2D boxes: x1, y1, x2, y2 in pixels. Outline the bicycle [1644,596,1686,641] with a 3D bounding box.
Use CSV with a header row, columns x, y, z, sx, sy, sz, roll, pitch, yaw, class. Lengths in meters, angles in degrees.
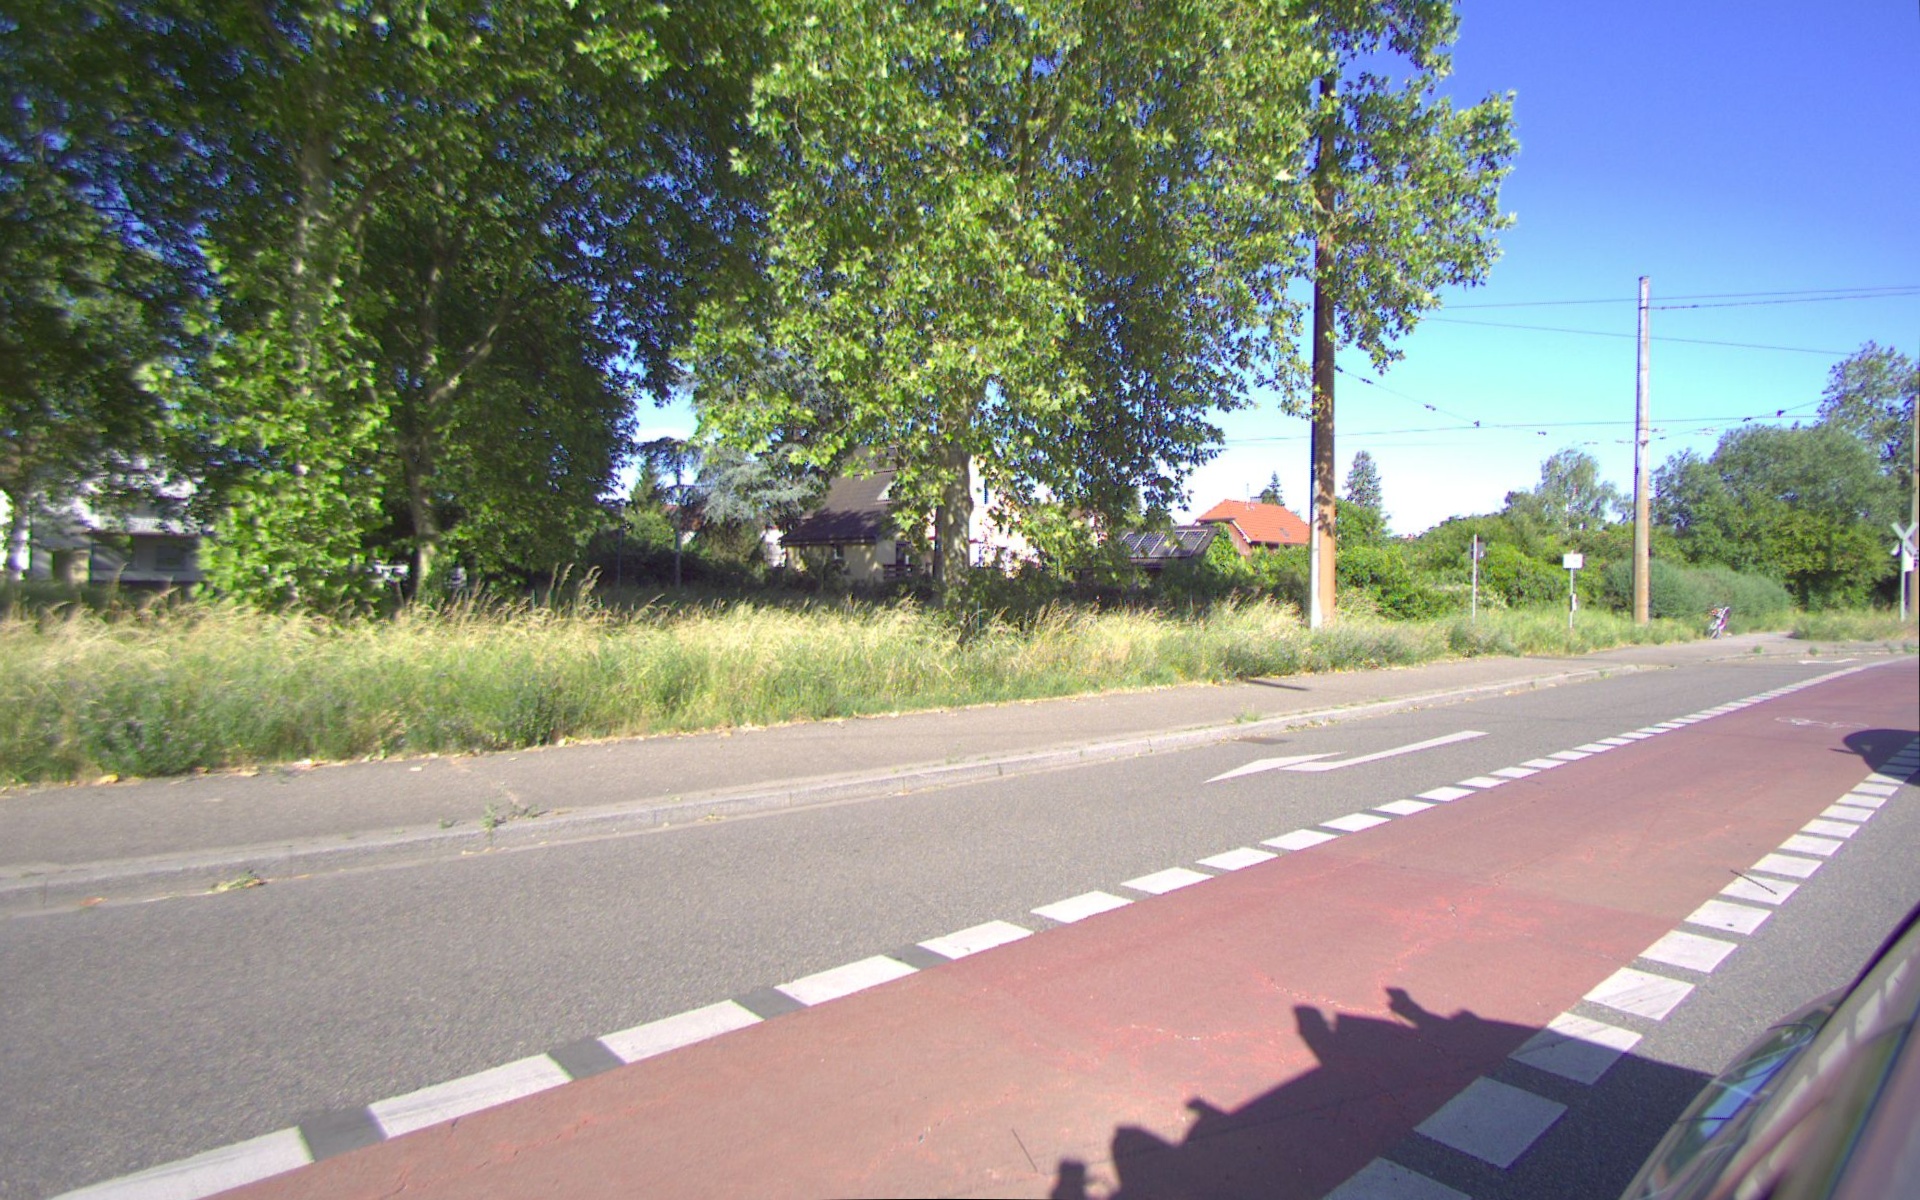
x,y,z,sx,sy,sz,roll,pitch,yaw,class
19.057,0.484,27.384,0.362,1.149,2.082,1,1,19,bicycle
